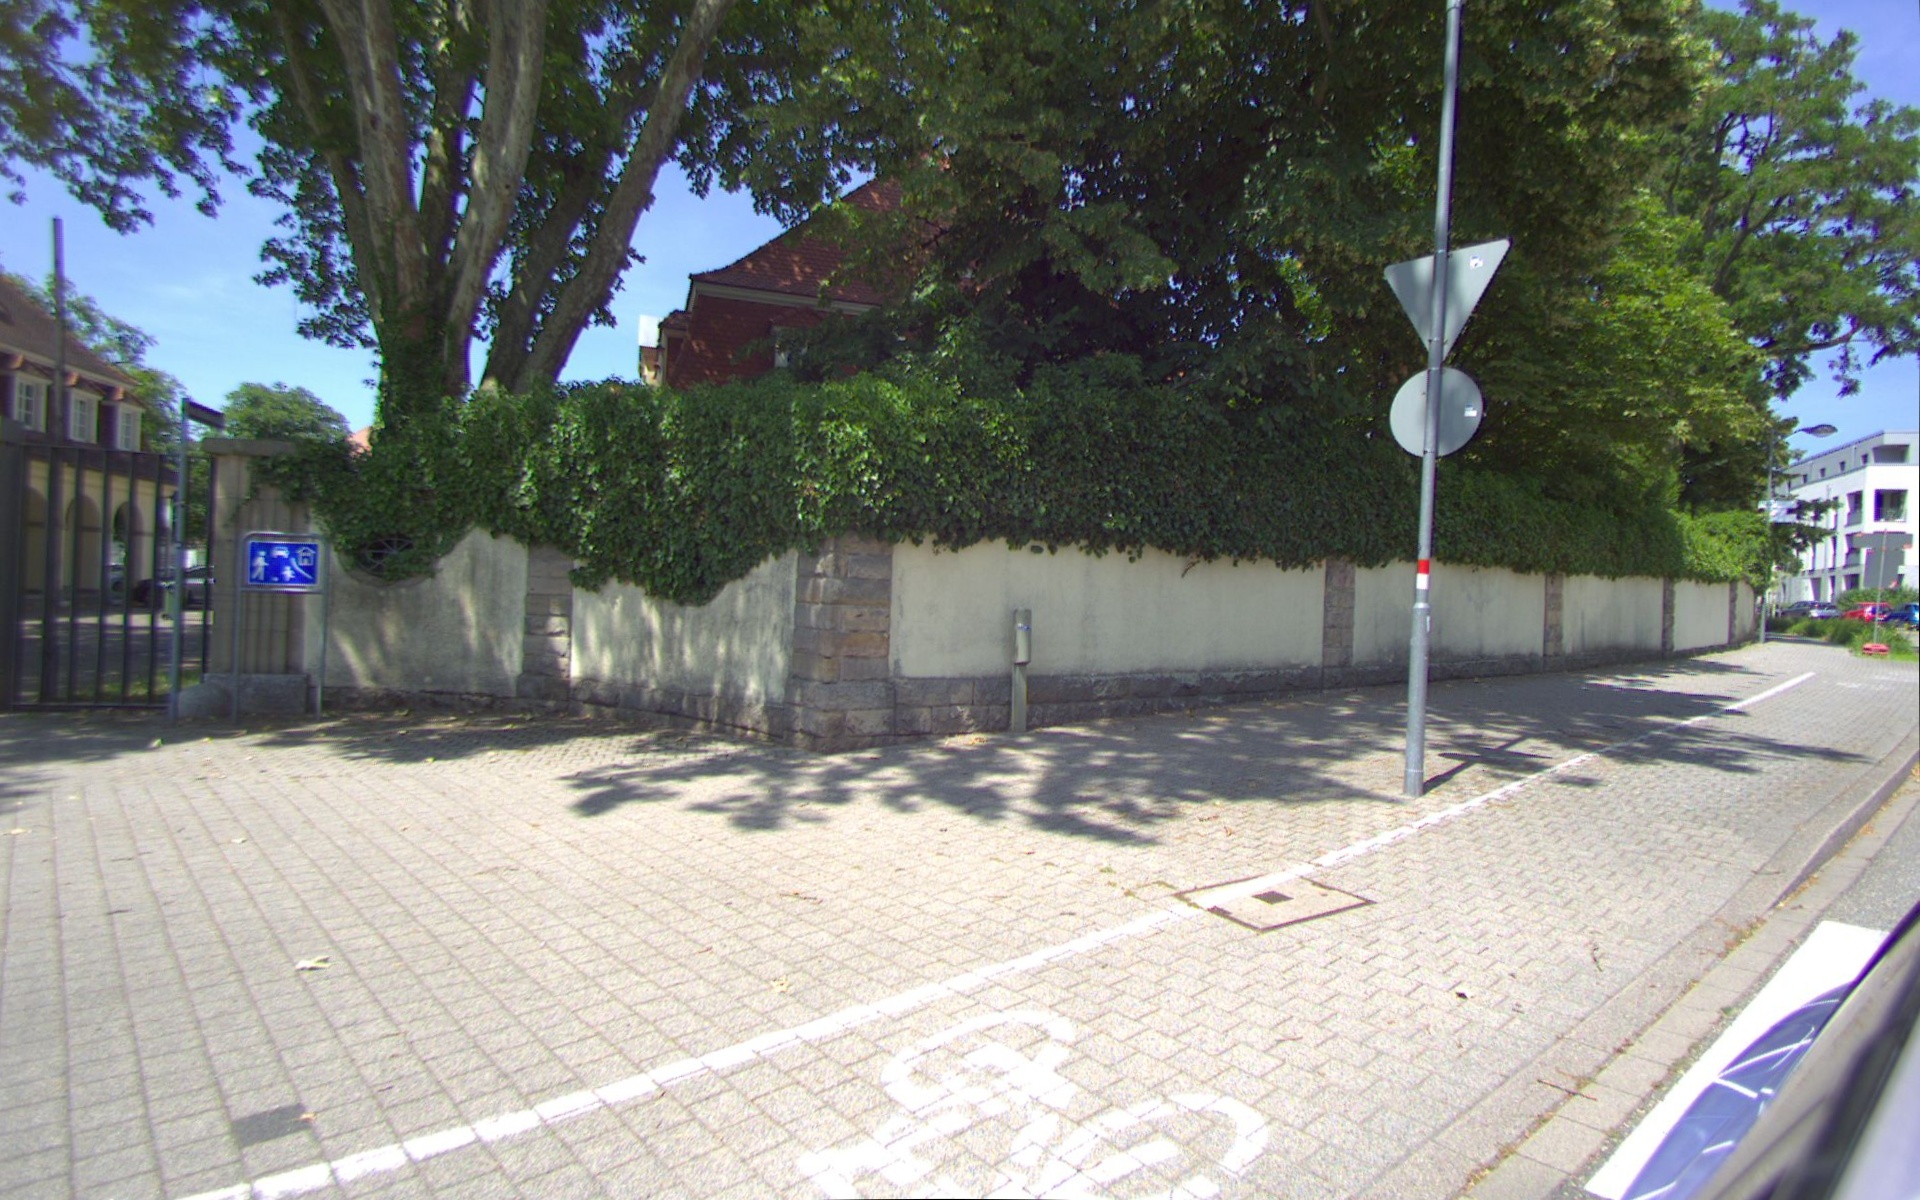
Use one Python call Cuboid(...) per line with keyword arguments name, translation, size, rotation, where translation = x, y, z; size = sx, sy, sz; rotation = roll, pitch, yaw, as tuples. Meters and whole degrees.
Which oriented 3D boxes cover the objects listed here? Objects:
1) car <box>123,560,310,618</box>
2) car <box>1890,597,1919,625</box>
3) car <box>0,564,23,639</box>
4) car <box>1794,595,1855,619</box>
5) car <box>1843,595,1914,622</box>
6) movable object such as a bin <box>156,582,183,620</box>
Cuboid(name="car", translation=(-24.213, -0.361, 33.129), size=(4.408, 1.420, 2.004), rotation=(6, 0, -14))
Cuboid(name="car", translation=(50.845, 0.596, 53.072), size=(1.686, 1.431, 3.698), rotation=(1, 1, 19))
Cuboid(name="car", translation=(-20.491, -0.160, 18.511), size=(4.408, 1.420, 2.004), rotation=(6, 0, -14))
Cuboid(name="car", translation=(54.948, 0.408, 64.392), size=(1.686, 1.431, 3.698), rotation=(1, 1, 19))
Cuboid(name="car", translation=(52.848, 0.479, 58.282), size=(1.686, 1.431, 3.698), rotation=(1, 1, 19))
Cuboid(name="movable object such as a bin", translation=(-21.472, 0.018, 27.495), size=(0.526, 1.021, 0.529), rotation=(1, 1, 45))
